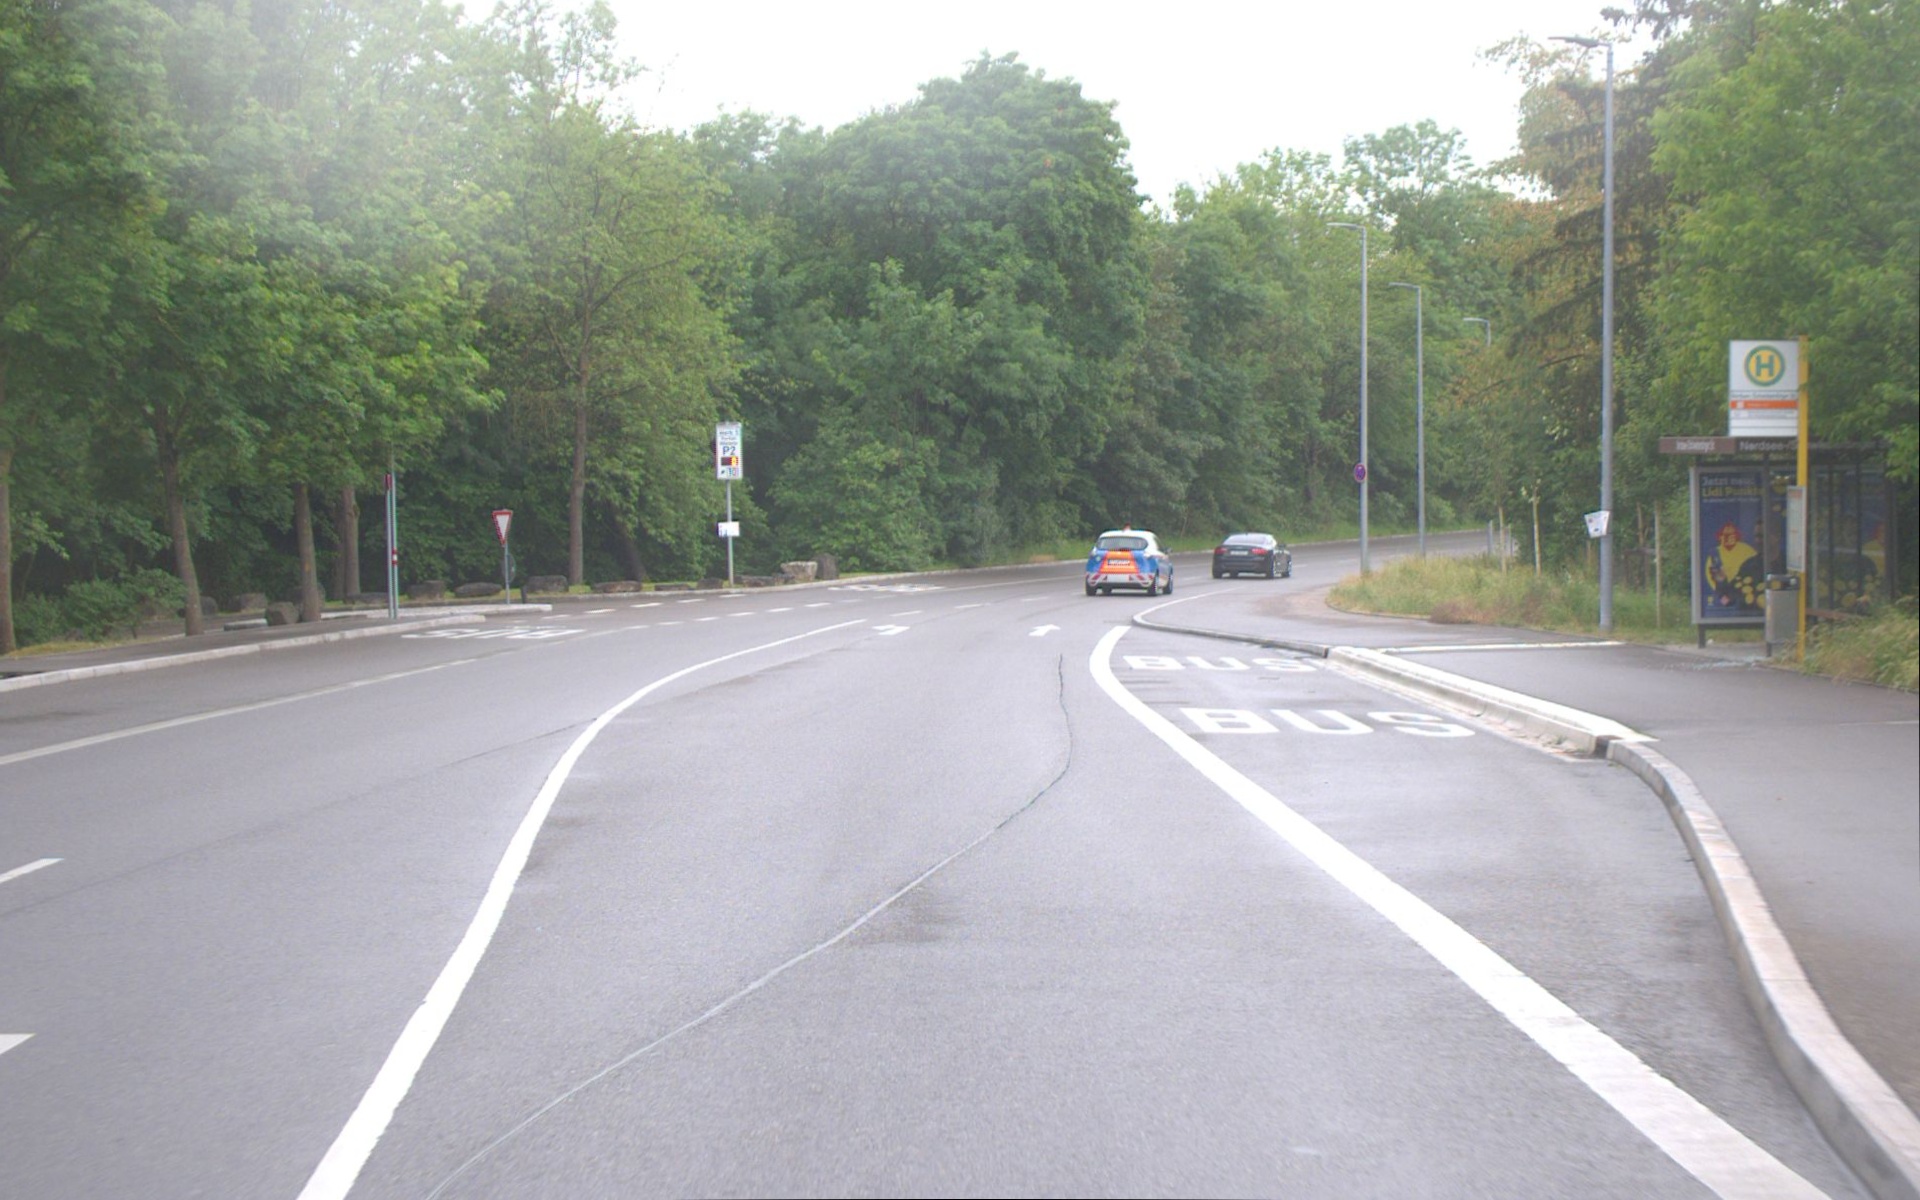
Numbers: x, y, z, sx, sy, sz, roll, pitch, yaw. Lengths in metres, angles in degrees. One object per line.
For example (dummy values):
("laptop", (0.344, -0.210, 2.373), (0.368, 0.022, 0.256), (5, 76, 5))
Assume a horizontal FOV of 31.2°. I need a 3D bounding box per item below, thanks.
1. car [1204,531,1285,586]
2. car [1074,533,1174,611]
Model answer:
("car", (8.576, -1.269, 103.537), (1.928, 1.481, 3.798), (-1, 2, 12))
("car", (4.009, -0.708, 83.282), (1.994, 1.683, 3.999), (-1, 2, 8))
